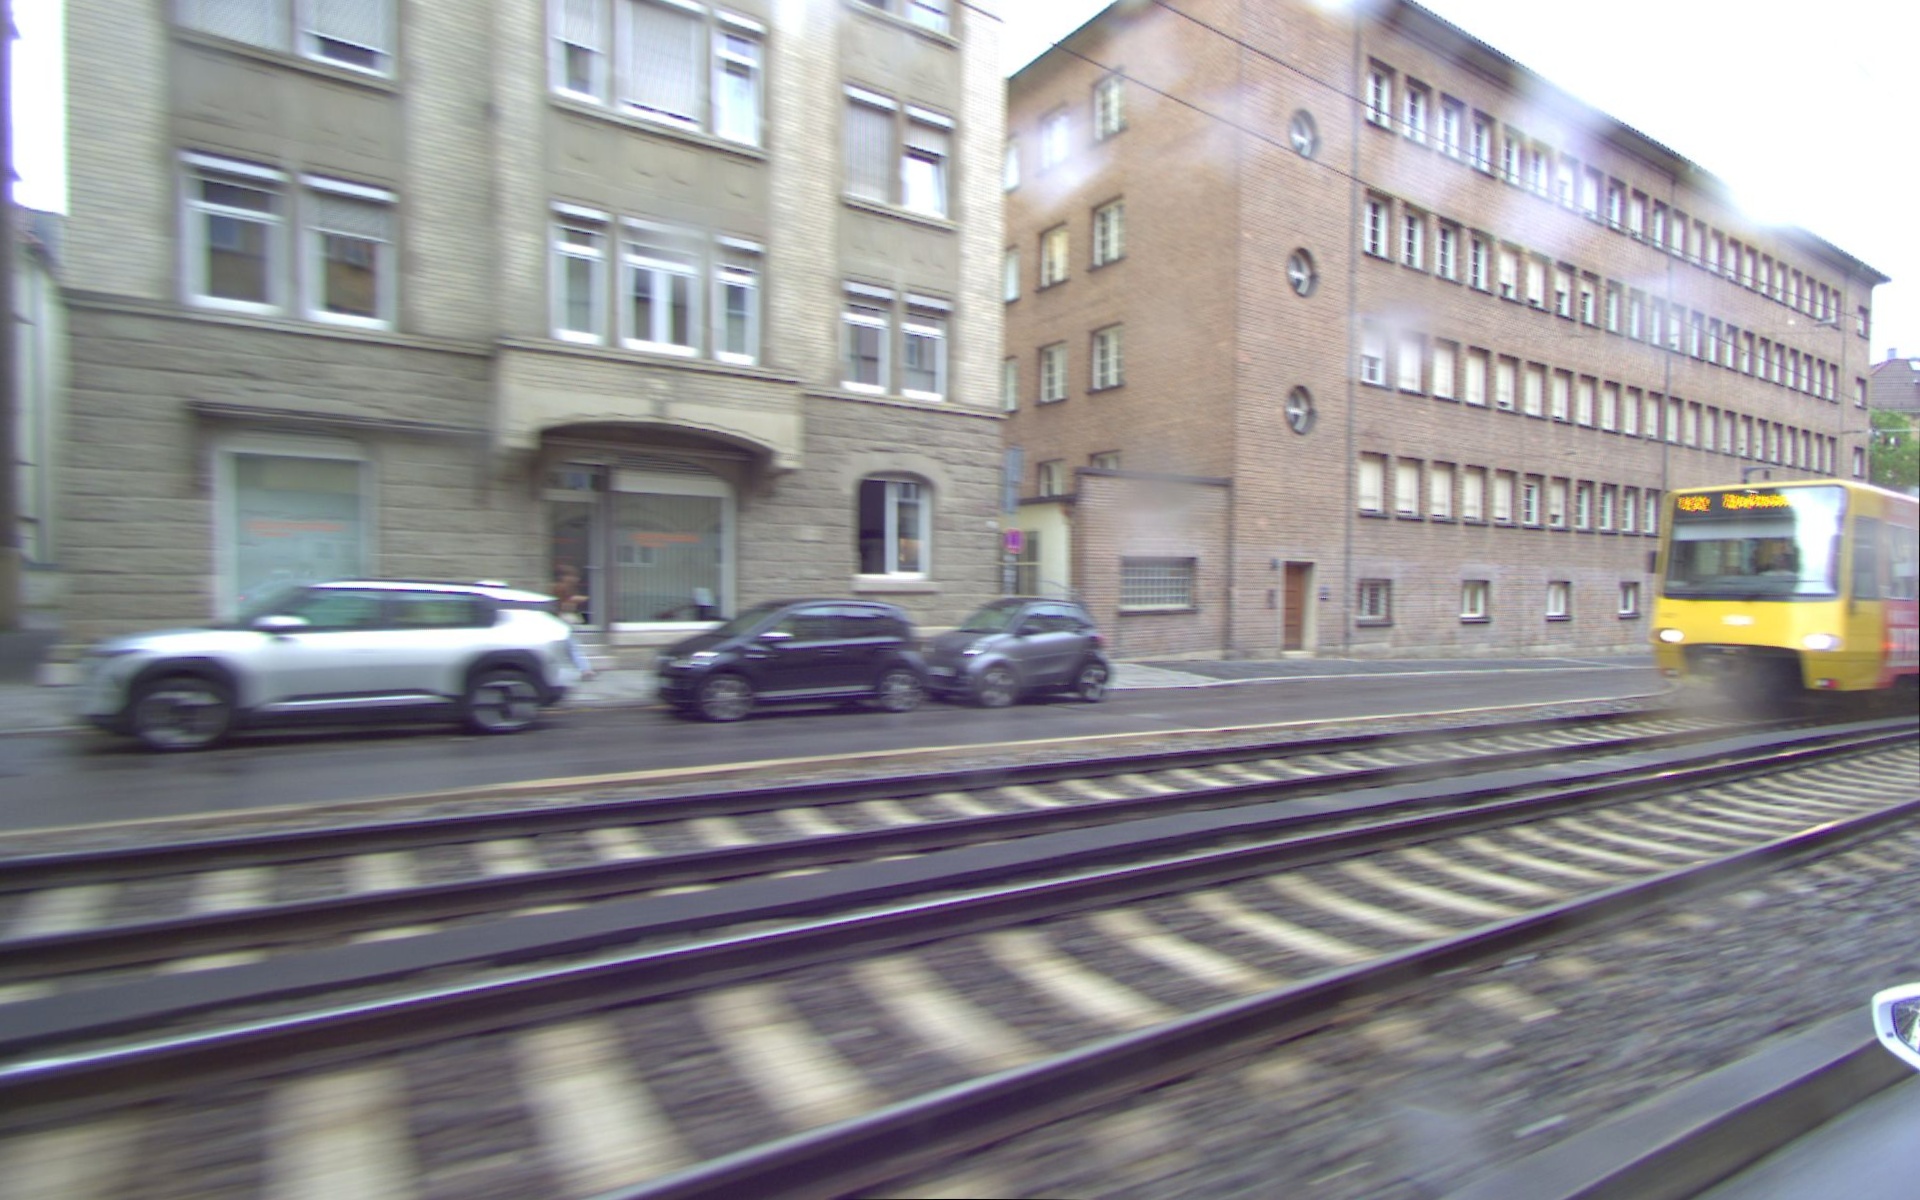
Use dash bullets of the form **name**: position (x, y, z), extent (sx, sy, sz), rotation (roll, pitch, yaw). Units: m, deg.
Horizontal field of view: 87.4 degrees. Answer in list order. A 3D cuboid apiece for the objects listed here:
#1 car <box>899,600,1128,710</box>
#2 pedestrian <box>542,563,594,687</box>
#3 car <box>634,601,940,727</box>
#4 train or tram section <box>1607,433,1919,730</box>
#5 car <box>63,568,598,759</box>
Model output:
- **car**: position (0.821, 0.781, 15.171), extent (3.077, 1.486, 1.635), rotation (1, 0, -32)
- **pedestrian**: position (-5.422, 0.337, 13.888), extent (0.536, 1.676, 0.545), rotation (1, 0, -33)
- **car**: position (-2.216, 0.766, 13.120), extent (3.593, 1.422, 1.635), rotation (1, 0, -32)
- **train or tram section**: position (18.742, -0.002, 19.959), extent (19.101, 3.973, 2.697), rotation (2, 0, -35)
- **car**: position (-6.118, 0.571, 10.270), extent (4.291, 1.602, 1.635), rotation (1, 0, -32)
